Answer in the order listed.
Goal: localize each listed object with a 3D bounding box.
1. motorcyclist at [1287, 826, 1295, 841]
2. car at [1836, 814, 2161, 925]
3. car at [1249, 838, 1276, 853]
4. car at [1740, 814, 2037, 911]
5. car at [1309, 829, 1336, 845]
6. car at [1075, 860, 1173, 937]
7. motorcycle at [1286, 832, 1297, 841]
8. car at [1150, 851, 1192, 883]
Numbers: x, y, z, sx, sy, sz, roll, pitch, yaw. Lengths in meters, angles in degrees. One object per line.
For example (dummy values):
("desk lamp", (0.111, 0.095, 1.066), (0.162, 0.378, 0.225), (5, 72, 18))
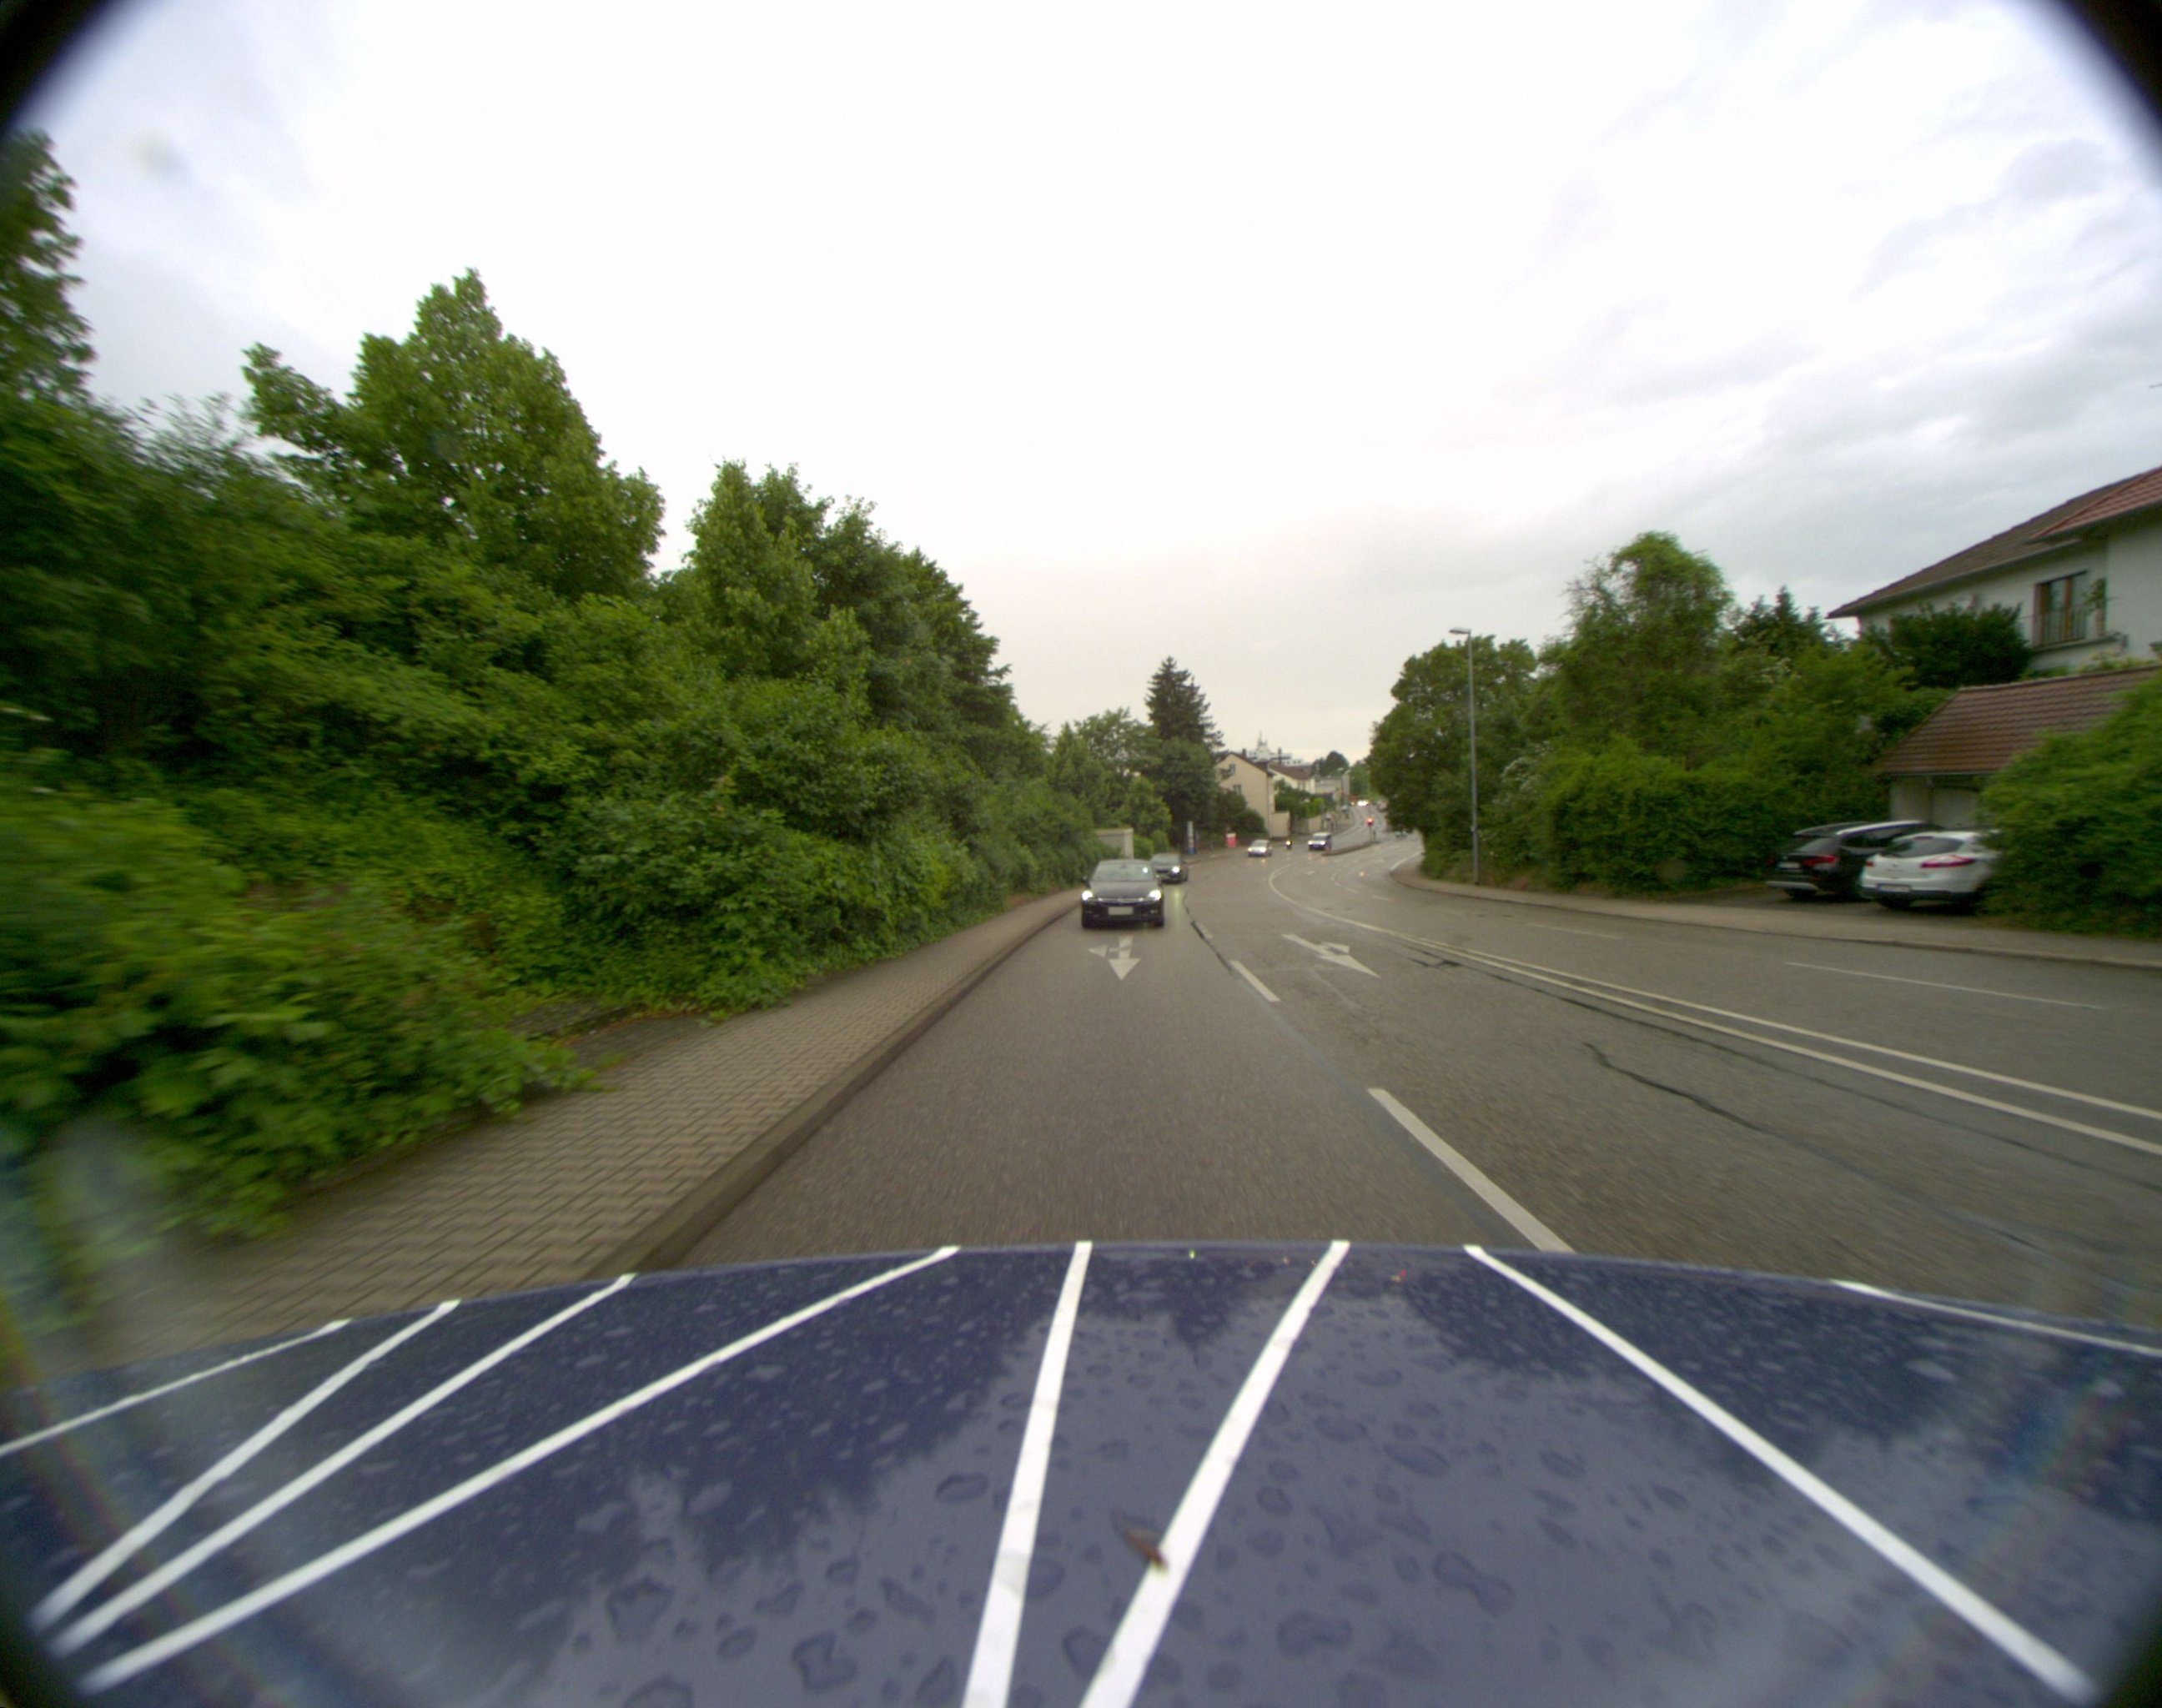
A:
("motorcyclist", (24.042, -2.321, 86.943), (0.765, 1.633, 0.675), (0, 2, 31))
("car", (16.407, 0.260, 13.506), (3.909, 1.432, 1.812), (-6, 0, 4))
("car", (17.886, -0.859, 74.720), (1.814, 1.430, 4.007), (1, 1, 25))
("car", (17.079, 0.172, 16.278), (3.996, 1.527, 2.000), (-6, 0, 3))
("car", (26.838, -1.853, 84.484), (1.774, 1.765, 4.008), (1, 1, 34))
("car", (1.095, 0.914, 17.246), (1.815, 1.434, 4.165), (-1, 1, 8))
("motorcycle", (24.123, -2.039, 87.042), (0.691, 1.047, 1.750), (1, 2, 31))
("car", (4.556, 0.621, 39.047), (1.872, 1.497, 4.198), (-2, 0, 4))
